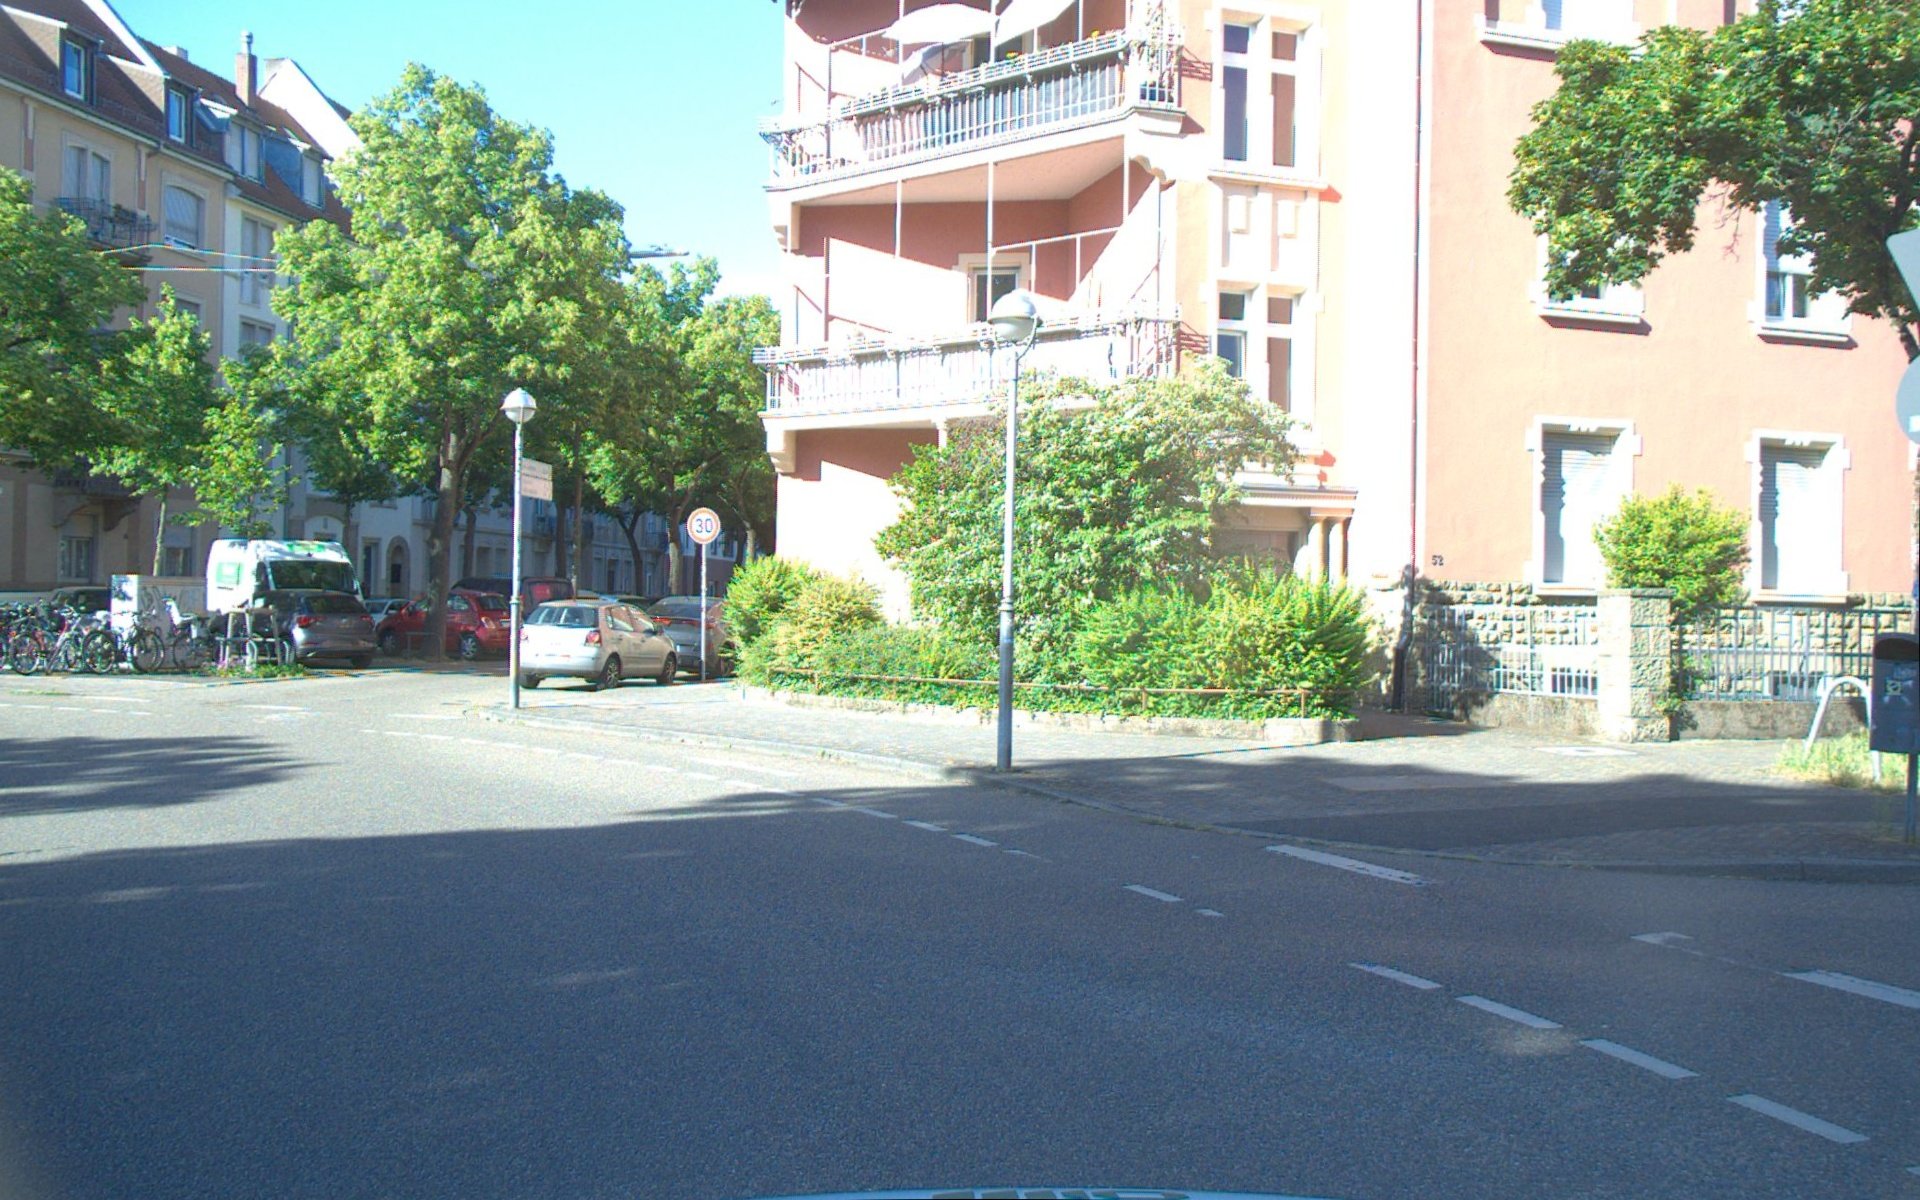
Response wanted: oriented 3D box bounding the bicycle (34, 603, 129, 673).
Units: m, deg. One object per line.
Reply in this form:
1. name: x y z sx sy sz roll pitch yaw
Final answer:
1. bicycle: -14.508 0.612 27.342 0.409 1.108 1.575 2 1 14

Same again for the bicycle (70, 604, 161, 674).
1. bicycle: -14.022 0.628 27.487 0.409 1.105 1.528 2 1 15

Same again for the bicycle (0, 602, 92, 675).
1. bicycle: -15.107 0.615 27.184 0.488 1.121 1.651 2 1 14

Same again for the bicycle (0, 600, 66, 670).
1. bicycle: -15.723 0.569 27.362 0.641 1.107 1.731 2 1 12

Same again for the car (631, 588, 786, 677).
1. car: -4.955 0.614 33.168 1.647 1.590 4.299 2 0 11

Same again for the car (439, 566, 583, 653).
1. car: -10.653 0.213 39.150 3.322 1.897 1.679 2 0 41

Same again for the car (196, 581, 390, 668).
1. car: -12.867 0.446 31.839 3.845 1.472 1.681 2 0 36

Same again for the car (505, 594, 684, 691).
1. car: -6.157 0.690 28.255 1.647 1.472 3.549 2 0 11

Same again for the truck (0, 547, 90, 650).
1. truck: -22.955 -0.040 37.376 2.087 2.332 6.627 0 0 12

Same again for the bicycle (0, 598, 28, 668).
1. bicycle: -16.397 0.553 27.535 0.575 1.146 1.603 2 1 12

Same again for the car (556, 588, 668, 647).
1. car: -9.809 0.490 46.557 1.673 1.495 3.335 2 0 -40

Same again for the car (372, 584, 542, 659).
1. car: -11.161 0.465 36.722 3.306 1.472 1.687 2 0 25

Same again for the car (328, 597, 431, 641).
1. car: -19.327 0.618 55.252 1.647 1.414 3.925 0 0 8

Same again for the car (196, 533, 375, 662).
1. car: -15.295 -0.118 37.265 2.082 2.645 6.291 2 0 -38

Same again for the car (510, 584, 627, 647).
1. car: -10.433 0.396 43.928 1.673 1.495 3.335 2 0 -40

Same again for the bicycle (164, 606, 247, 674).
1. bicycle: -13.015 0.680 28.580 0.409 1.105 1.528 2 1 15
